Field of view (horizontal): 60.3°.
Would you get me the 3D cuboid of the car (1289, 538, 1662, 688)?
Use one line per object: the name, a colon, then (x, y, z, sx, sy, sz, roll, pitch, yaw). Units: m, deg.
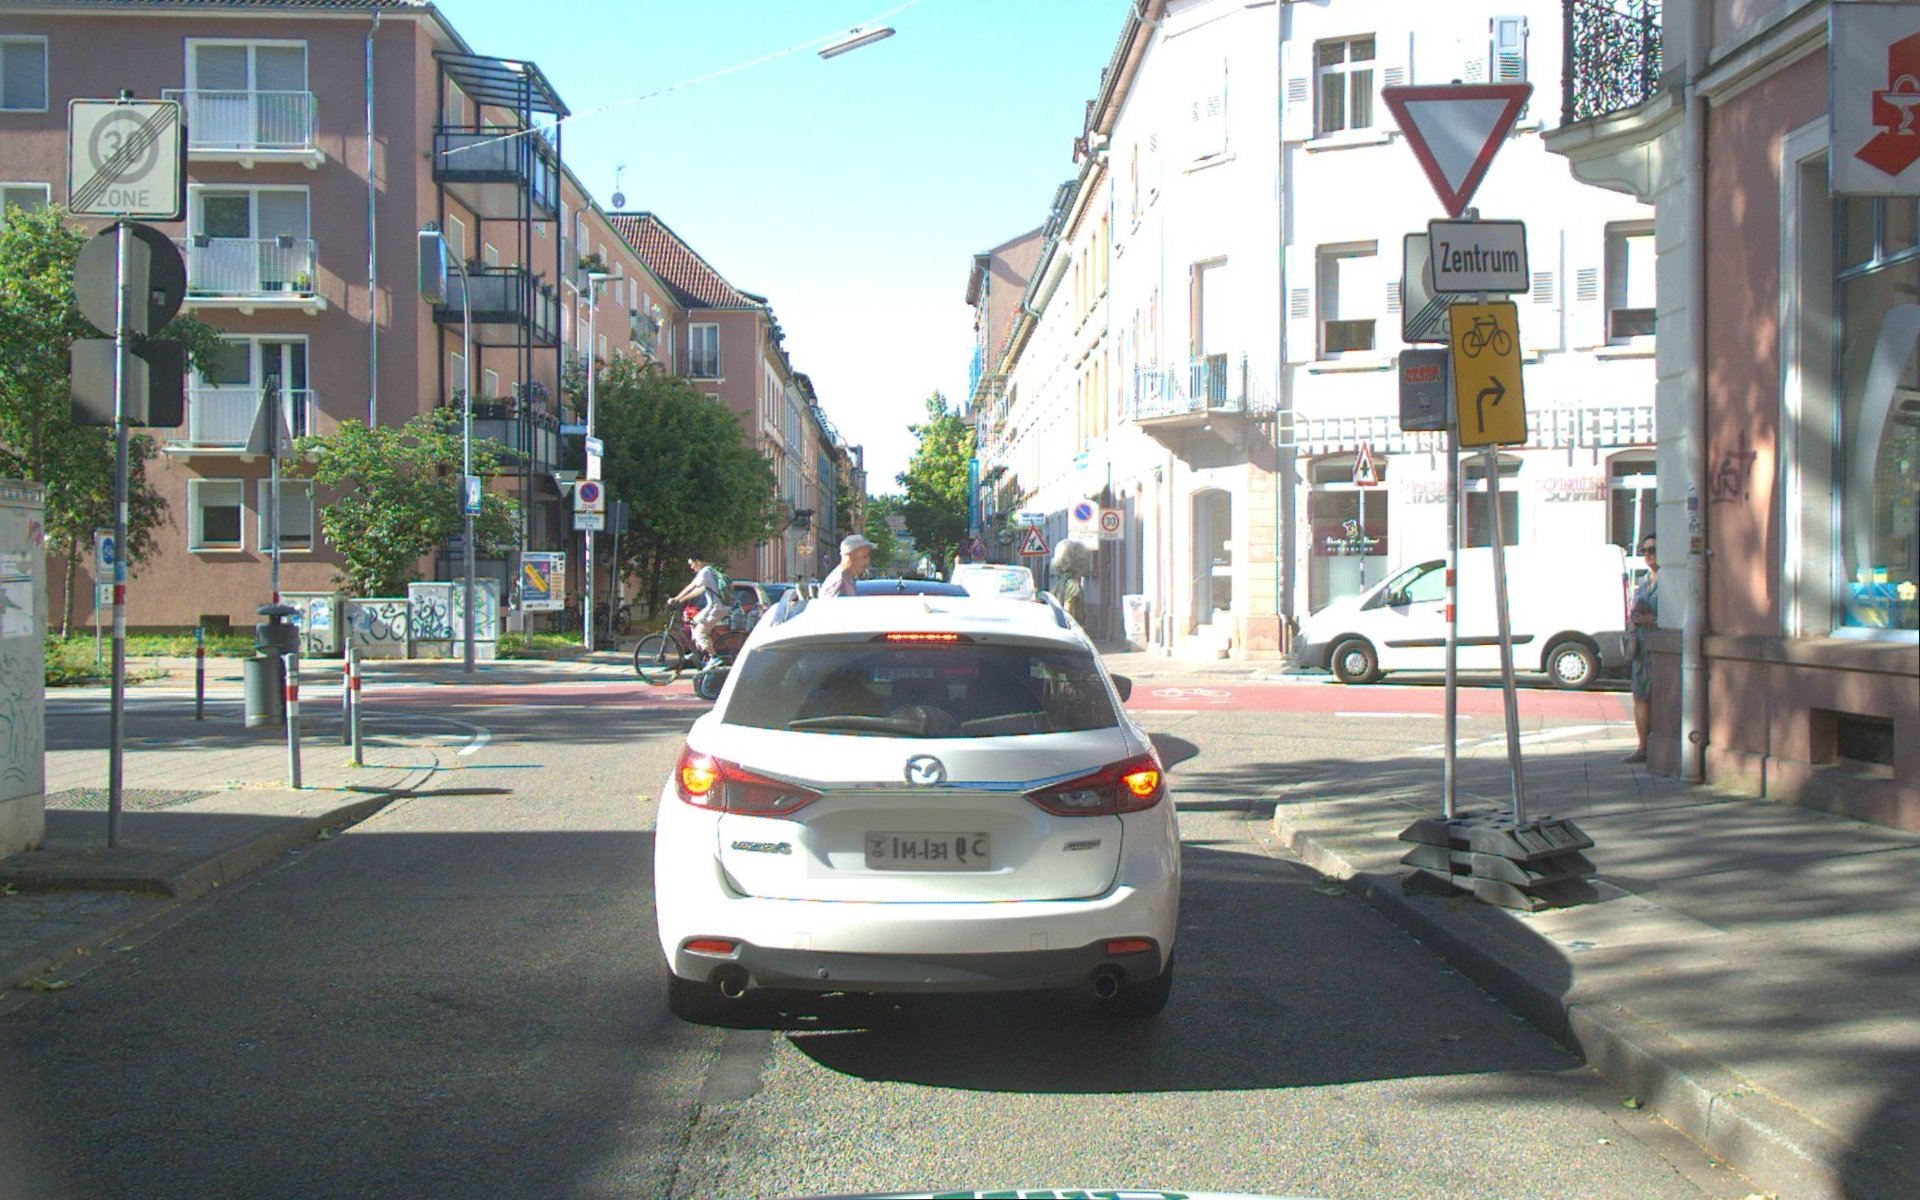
car: (7.357, 0.158, 23.721, 4.906, 1.980, 2.051, 0, 0, 21)

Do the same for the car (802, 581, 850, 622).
car: (-5.148, 0.026, 63.982, 1.620, 1.526, 3.762, 0, 1, -1)

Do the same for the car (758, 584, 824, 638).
car: (-5.000, 0.295, 49.279, 1.620, 1.526, 3.762, 0, 1, -1)

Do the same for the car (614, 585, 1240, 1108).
car: (-0.119, 0.688, 6.732, 1.794, 1.482, 3.962, 0, 1, -1)

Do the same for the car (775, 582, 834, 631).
car: (-4.985, 0.173, 53.376, 1.620, 1.526, 3.762, 0, 1, -1)

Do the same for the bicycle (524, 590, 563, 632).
bicycle: (-10.672, 0.281, 42.342, 1.193, 1.053, 0.290, 0, 1, 38)

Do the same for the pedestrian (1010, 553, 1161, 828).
pedestrian: (0.814, 0.583, 10.896, 0.819, 1.696, 0.626, -4, -1, -1)

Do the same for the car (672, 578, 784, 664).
car: (-4.339, 0.356, 31.406, 1.650, 1.526, 3.806, 0, 1, -1)

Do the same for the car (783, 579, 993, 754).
car: (-0.620, 0.524, 15.771, 1.725, 1.434, 4.327, 0, 1, -1)

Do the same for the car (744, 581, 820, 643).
car: (-4.548, 0.279, 42.675, 1.620, 1.526, 3.762, 0, 1, -1)

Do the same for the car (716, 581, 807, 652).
car: (-4.439, 0.334, 37.476, 1.620, 1.526, 4.079, 0, 1, -1)

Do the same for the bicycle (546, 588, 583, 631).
bicycle: (-10.255, 0.233, 42.859, 1.193, 1.089, 0.252, 0, 1, 38)

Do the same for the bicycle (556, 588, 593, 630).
bicycle: (-10.049, 0.236, 43.116, 1.193, 1.090, 0.252, 0, 1, 38)

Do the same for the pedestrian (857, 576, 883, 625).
pedestrian: (-3.077, 0.020, 56.479, 0.720, 1.642, 0.813, -1, 0, -14)

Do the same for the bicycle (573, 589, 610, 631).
bicycle: (-9.612, 0.251, 43.142, 1.196, 1.090, 0.252, 0, 1, 38)

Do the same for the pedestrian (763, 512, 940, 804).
pedestrian: (-0.716, 0.370, 11.238, 0.735, 1.791, 0.831, -12, 1, 5)

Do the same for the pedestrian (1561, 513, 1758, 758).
pedestrian: (4.939, 0.254, 11.731, 0.828, 1.600, 0.844, -5, -2, -8)

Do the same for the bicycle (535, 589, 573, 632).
bicycle: (-10.456, 0.258, 42.580, 1.193, 1.091, 0.265, 0, 1, 38)

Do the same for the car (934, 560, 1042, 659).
car: (0.521, 0.164, 35.264, 1.857, 1.891, 5.011, 2, 1, -3)

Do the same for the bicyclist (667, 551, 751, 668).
bicyclist: (-3.384, 0.121, 22.380, 1.021, 1.545, 0.738, 0, 0, -1)

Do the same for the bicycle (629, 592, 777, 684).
bicycle: (-3.464, 0.508, 22.386, 1.907, 1.219, 0.630, 0, 0, -1)
